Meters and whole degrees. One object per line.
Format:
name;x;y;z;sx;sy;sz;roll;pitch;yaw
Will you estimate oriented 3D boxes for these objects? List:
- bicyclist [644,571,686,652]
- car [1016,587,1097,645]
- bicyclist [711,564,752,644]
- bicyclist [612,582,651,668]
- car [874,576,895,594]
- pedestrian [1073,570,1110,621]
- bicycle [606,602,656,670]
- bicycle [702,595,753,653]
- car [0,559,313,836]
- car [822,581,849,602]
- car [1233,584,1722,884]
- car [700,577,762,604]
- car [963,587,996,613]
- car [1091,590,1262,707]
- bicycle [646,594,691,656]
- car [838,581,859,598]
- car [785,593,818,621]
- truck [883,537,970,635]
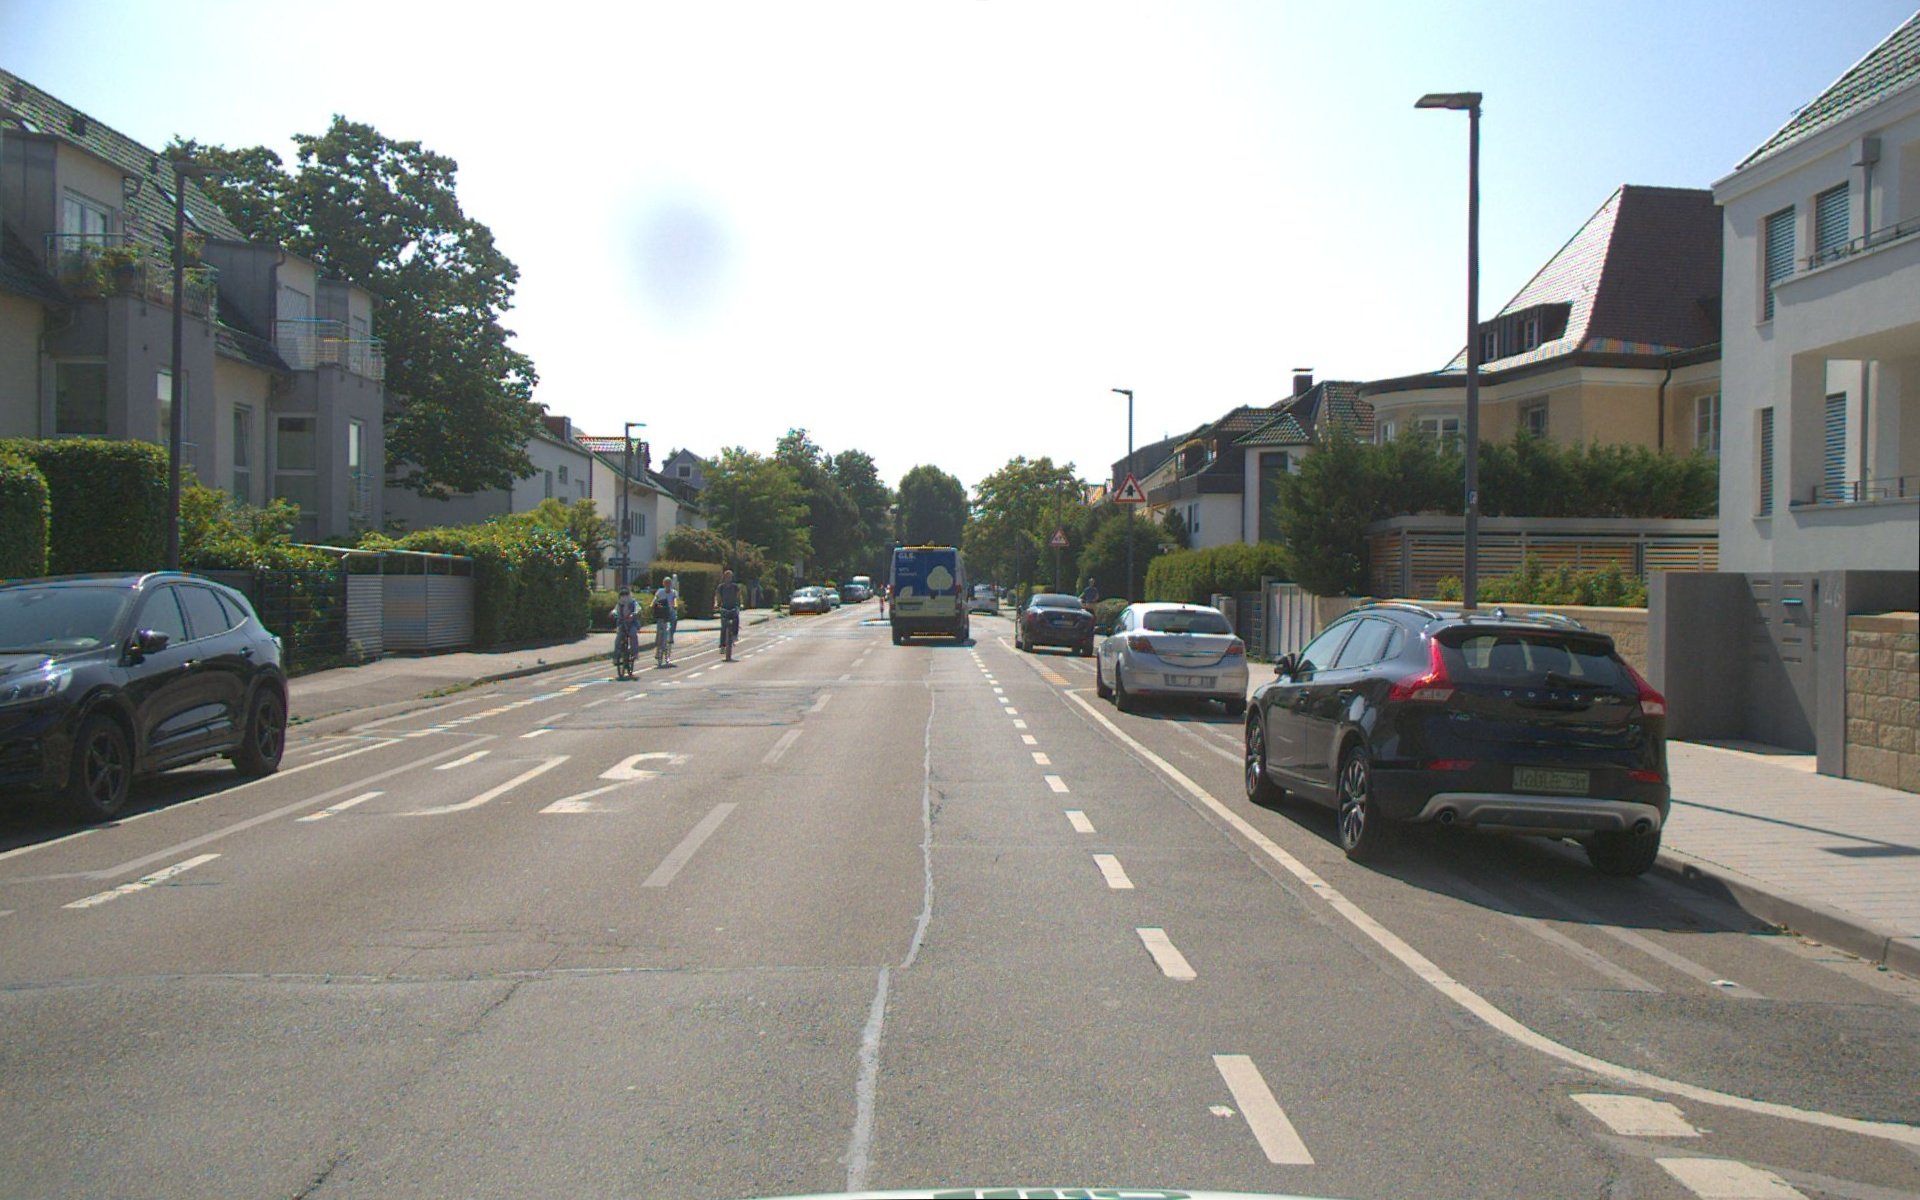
bicyclist;-6.011;0.223;33.699;0.662;1.608;0.859;-2;0;-1
car;2.385;0.376;41.887;1.701;1.352;4.259;1;1;-1
bicyclist;-4.994;0.078;36.189;0.734;1.697;1.021;-2;0;-1
bicyclist;-5.777;0.432;29.114;0.480;1.479;0.964;-2;0;-1
car;-7.410;-1.476;162.370;1.876;1.695;4.505;-1;0;0
pedestrian;5.001;-0.159;62.906;0.891;1.905;1.175;1;0;-34
bicycle;-5.761;0.618;29.009;0.588;1.124;1.346;-2;0;-1
bicycle;-5.023;0.506;35.805;0.766;1.186;2.419;-2;0;-1
car;-6.494;0.602;12.028;1.813;1.639;4.447;-3;0;-1
car;-8.751;-0.605;116.623;1.749;1.465;3.999;0;1;-2
car;3.084;0.704;10.821;1.688;1.474;4.167;4;0;-2
car;-15.403;-0.653;111.427;3.906;1.790;2.000;1;1;-1
car;1.124;-0.012;96.896;1.705;1.426;4.072;2;1;-3
car;2.865;0.630;22.675;1.701;1.352;4.075;4;-1;-1
bicycle;-5.926;0.492;33.728;0.548;1.206;2.035;-2;0;-1
car;-10.179;-0.988;151.135;1.745;1.485;4.084;0;1;-2
car;-8.939;0.385;93.249;1.750;1.465;4.151;-1;1;-4
truck;-0.898;-0.383;46.774;2.225;2.616;4.393;1;0;1
